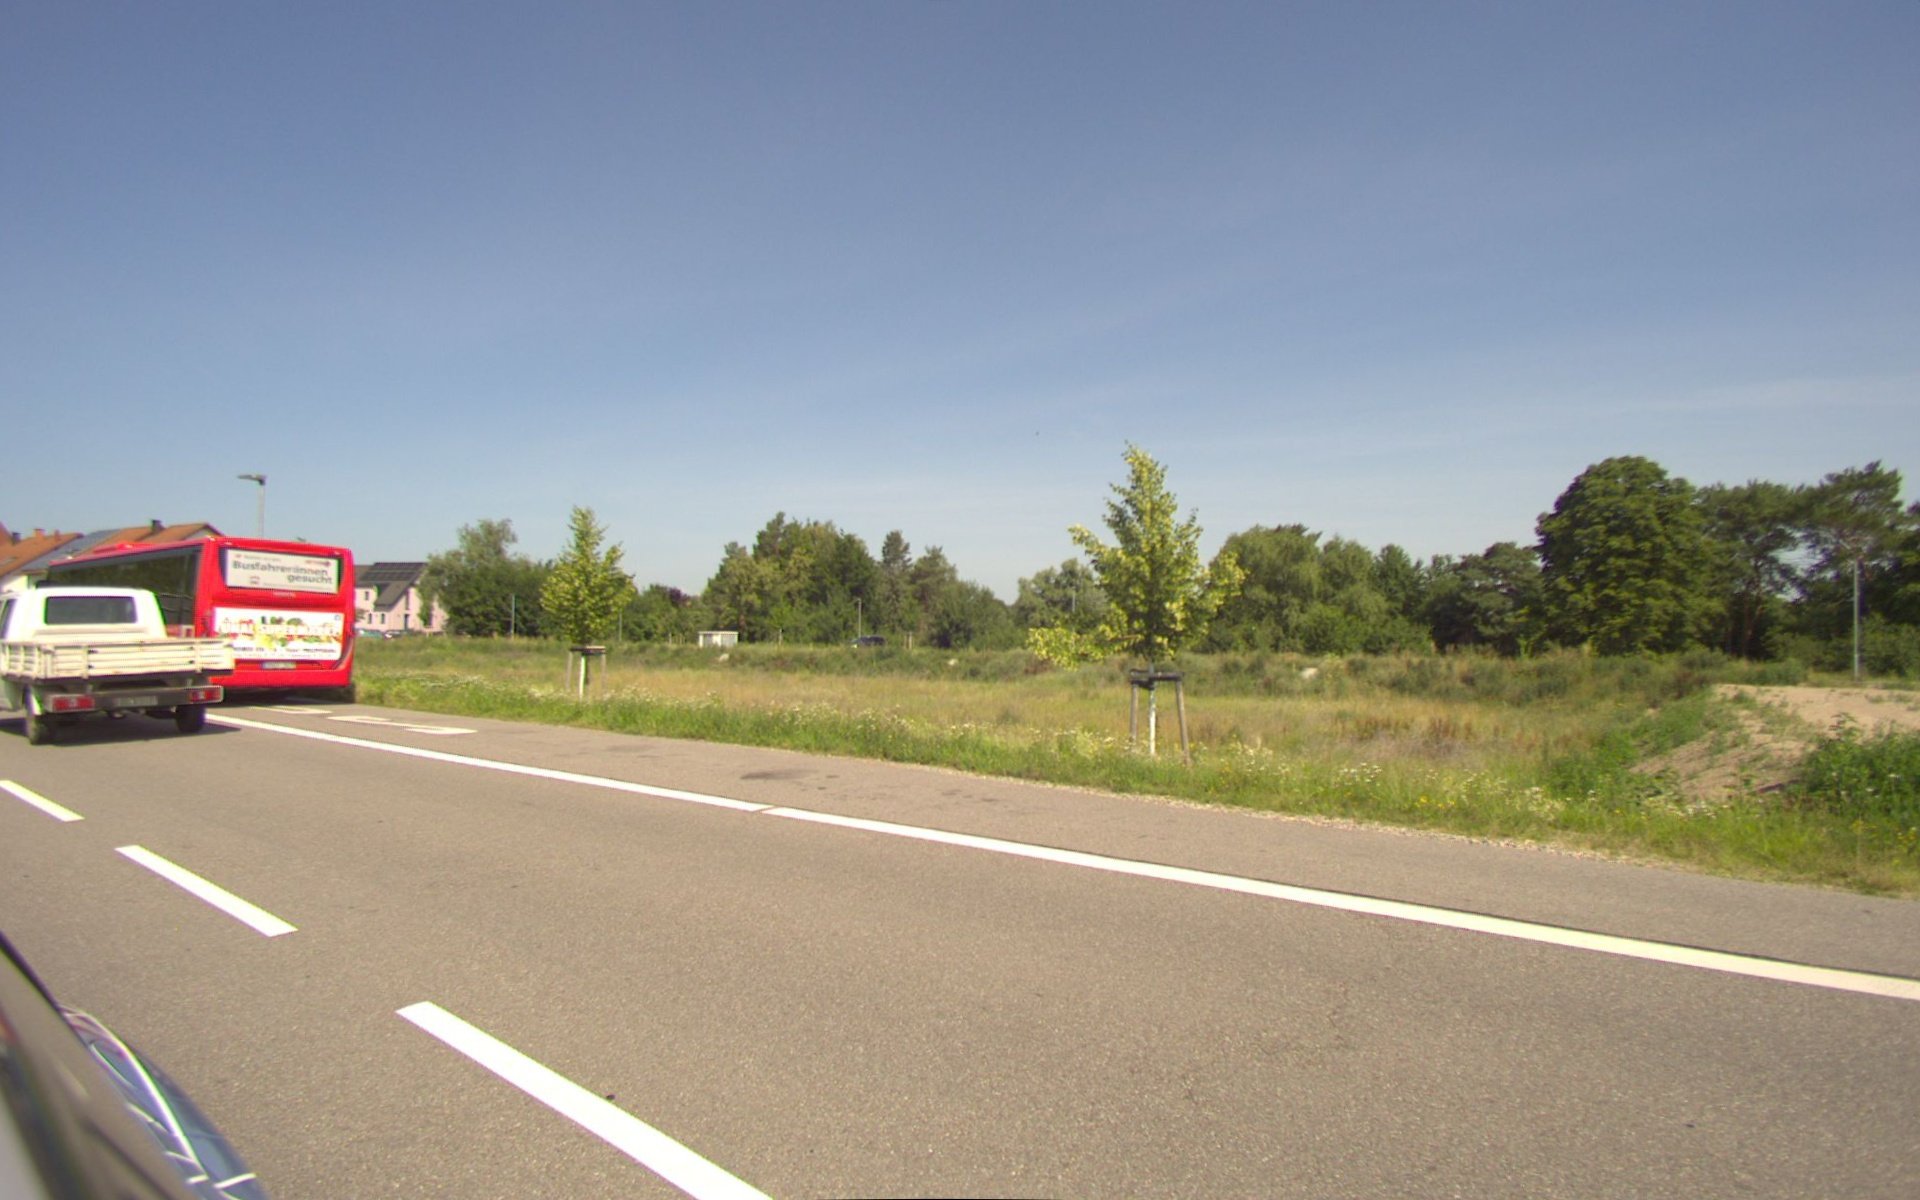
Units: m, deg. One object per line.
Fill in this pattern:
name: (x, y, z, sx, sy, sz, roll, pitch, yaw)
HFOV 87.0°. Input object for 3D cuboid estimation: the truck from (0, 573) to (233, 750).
truck: (-12.170, 0.773, 13.950, 5.635, 2.000, 1.933, -2, -2, 38)

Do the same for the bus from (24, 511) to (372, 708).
bus: (-16.861, 0.390, 21.802, 12.211, 3.312, 2.767, -2, -5, 38)
